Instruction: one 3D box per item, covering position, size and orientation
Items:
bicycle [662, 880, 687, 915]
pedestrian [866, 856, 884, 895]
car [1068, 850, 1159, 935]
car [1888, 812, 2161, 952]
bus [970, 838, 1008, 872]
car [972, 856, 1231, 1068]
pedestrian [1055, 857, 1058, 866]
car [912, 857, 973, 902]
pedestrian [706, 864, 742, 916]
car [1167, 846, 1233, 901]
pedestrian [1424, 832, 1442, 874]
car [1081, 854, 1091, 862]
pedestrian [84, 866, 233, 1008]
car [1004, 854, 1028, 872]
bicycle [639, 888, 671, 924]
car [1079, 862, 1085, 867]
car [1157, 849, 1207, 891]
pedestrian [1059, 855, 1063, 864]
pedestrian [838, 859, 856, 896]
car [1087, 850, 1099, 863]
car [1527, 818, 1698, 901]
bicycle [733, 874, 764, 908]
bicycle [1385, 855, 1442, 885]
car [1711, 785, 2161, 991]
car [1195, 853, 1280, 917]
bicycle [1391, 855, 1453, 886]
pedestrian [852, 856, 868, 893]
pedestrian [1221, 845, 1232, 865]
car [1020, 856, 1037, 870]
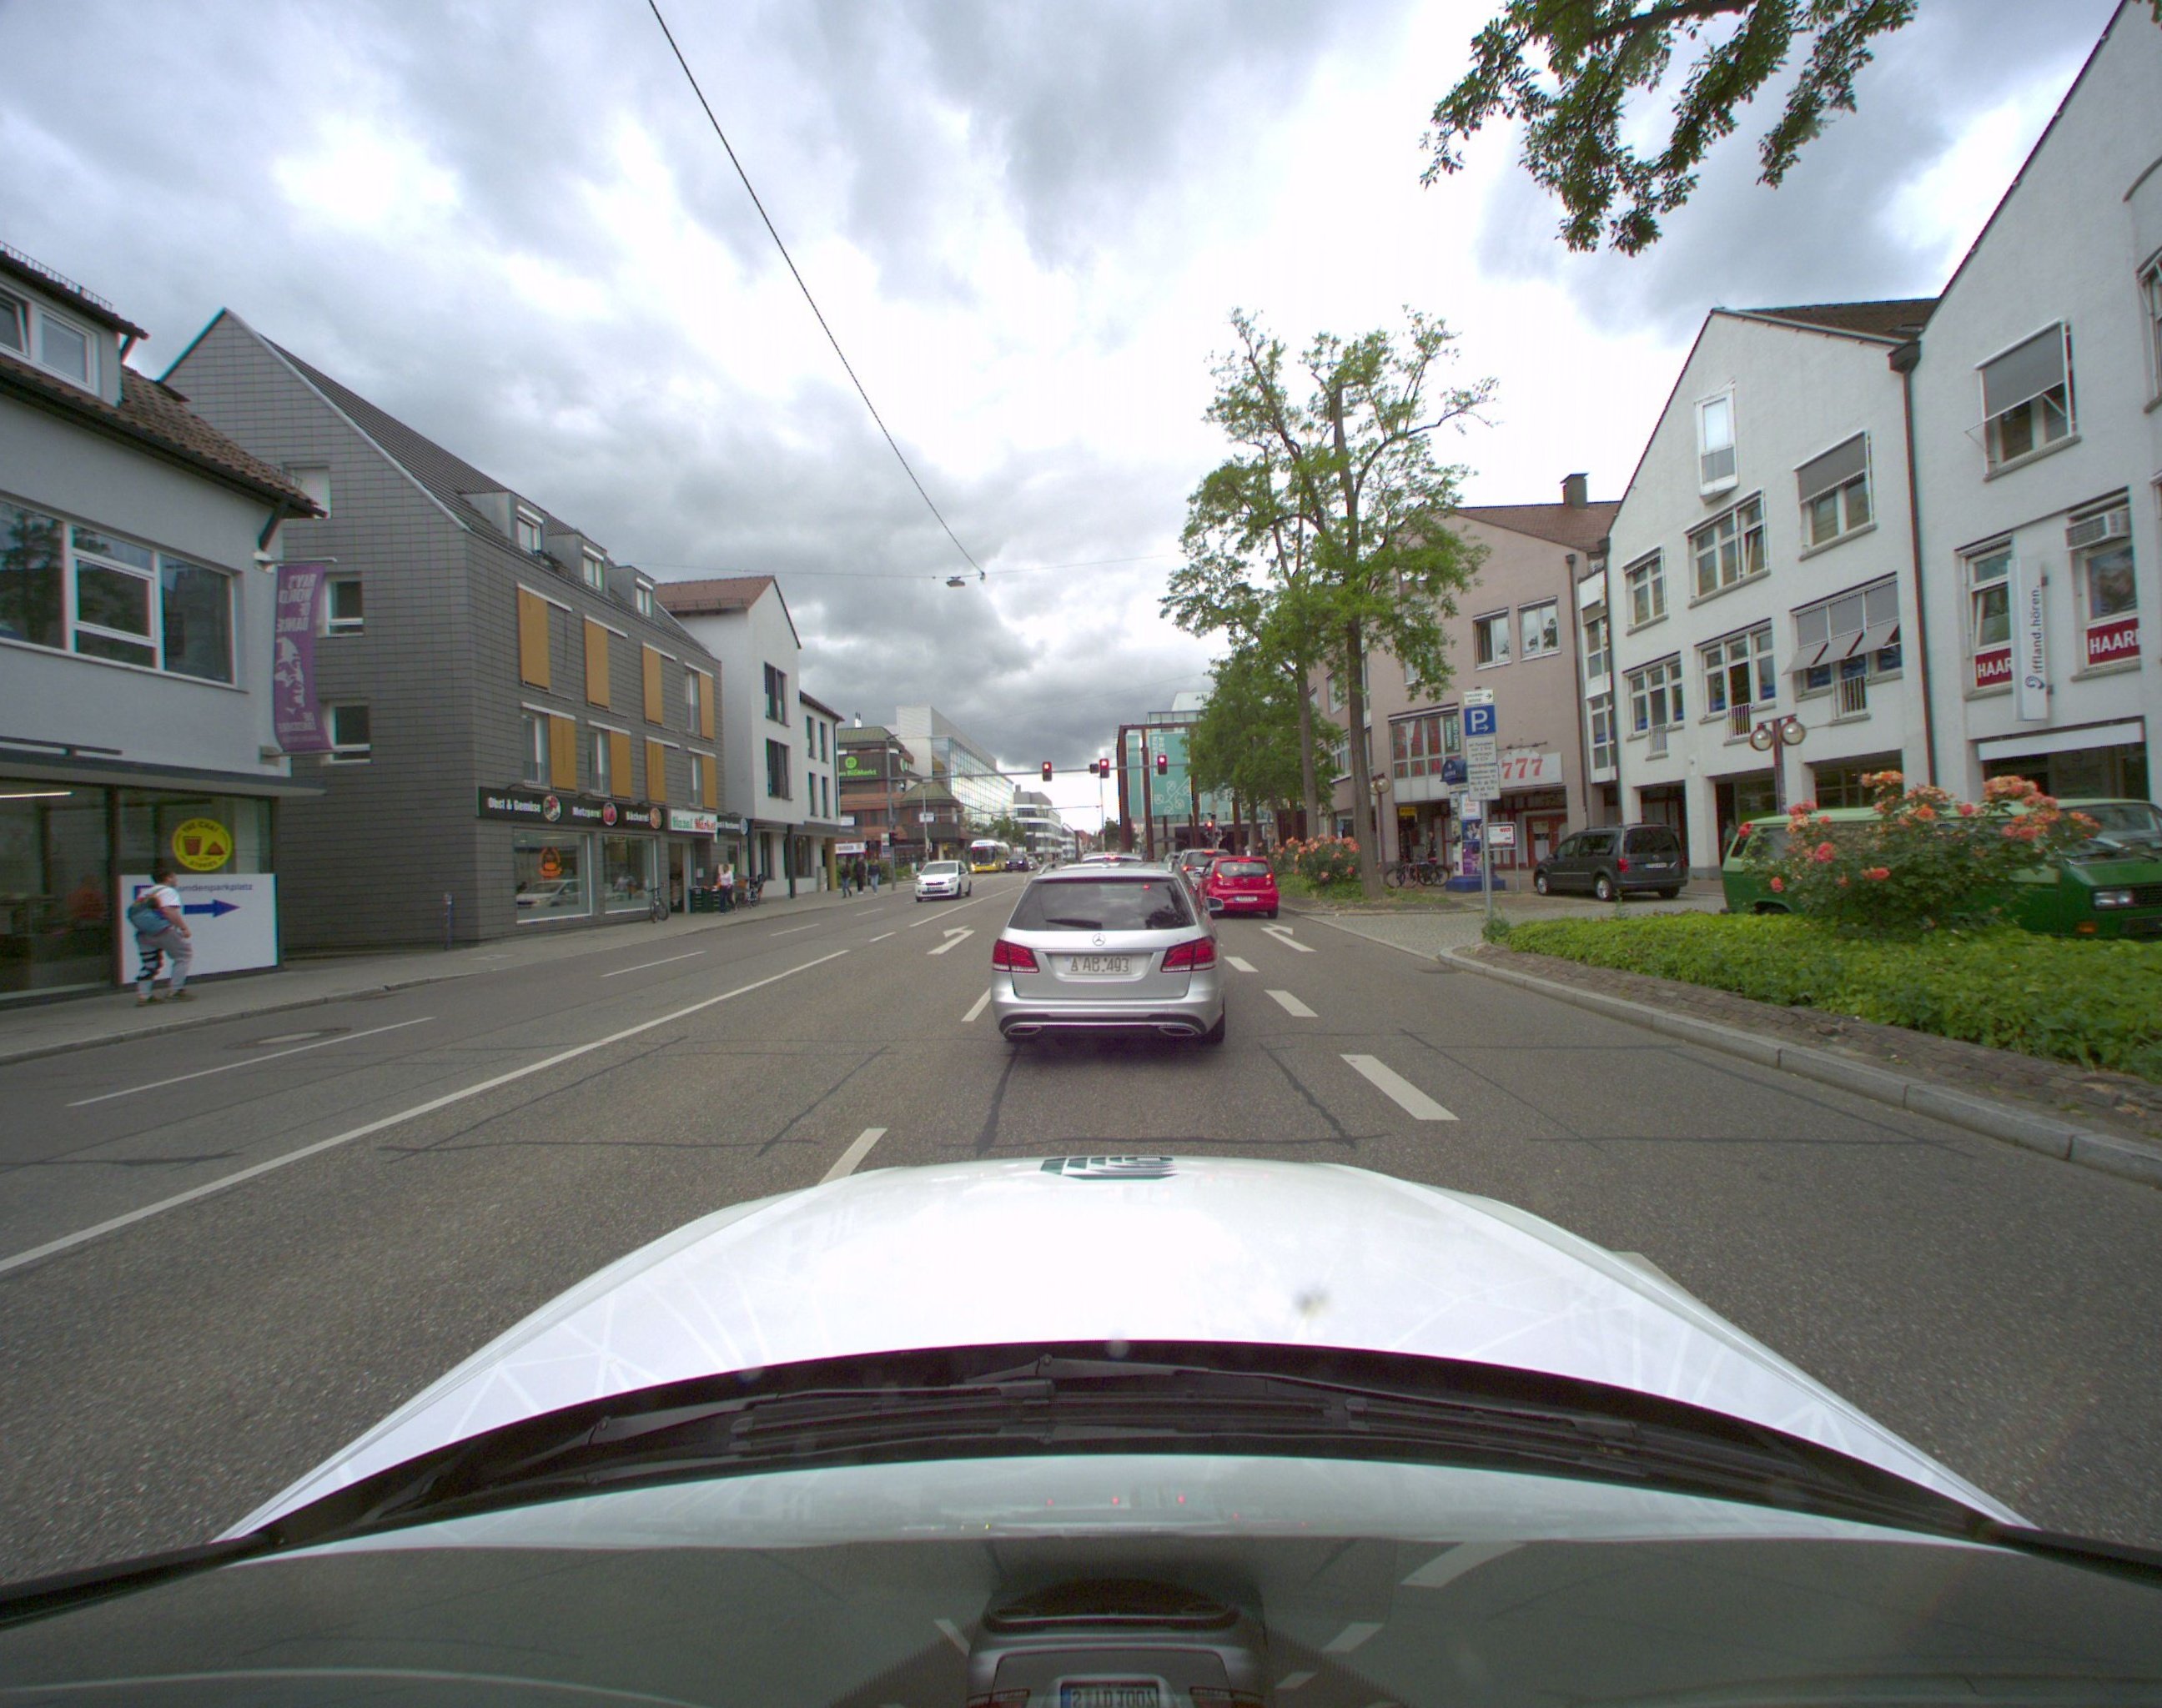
[{"bbox_3d":[-13.795,1.458,27.657,0.386,1.127,1.284,-2,0,-12],"label":"bicycle"},{"bbox_3d":[-9.749,1.021,38.547,0.682,1.790,0.646,-2,0,-11],"label":"pedestrian"},{"bbox_3d":[0.647,0.710,16.599,1.634,1.527,3.395,-1,0,2],"label":"car"},{"bbox_3d":[13.051,0.281,10.039,1.790,1.542,4.394,-4,0,0],"label":"car"},{"bbox_3d":[-9.396,0.073,83.811,2.677,3.261,8.654,-2,0,1],"label":"bus"},{"bbox_3d":[0.454,0.748,7.843,1.804,1.448,4.380,0,0,9],"label":"car"},{"bbox_3d":[-4.935,1.501,163.980,0.516,1.733,0.490,-2,0,10],"label":"pedestrian"},{"bbox_3d":[-5.215,0.927,31.005,1.568,1.488,3.465,-3,0,1],"label":"car"},{"bbox_3d":[-11.338,1.130,25.879,0.725,1.610,0.753,-2,0,2],"label":"pedestrian"},{"bbox_3d":[3.745,0.573,26.234,1.581,1.634,3.916,0,0,0],"label":"car"},{"bbox_3d":[15.666,-0.056,36.254,0.644,1.834,0.614,-2,0,24],"label":"pedestrian"},{"bbox_3d":[1.061,0.805,165.893,1.793,1.540,4.068,-2,0,3],"label":"car"},{"bbox_3d":[-11.799,1.022,10.453,0.751,1.705,0.981,1,0,2],"label":"pedestrian"},{"bbox_3d":[-6.415,0.855,80.975,1.987,1.706,4.065,-2,0,1],"label":"car"},{"bbox_3d":[-12.277,1.487,23.474,0.325,0.954,1.479,-2,0,-9],"label":"bicycle"},{"bbox_3d":[0.271,3.196,252.652,1.795,1.540,4.063,-2,0,0],"label":"car"},{"bbox_3d":[4.038,0.626,33.119,1.581,1.595,3.868,0,0,0],"label":"car"},{"bbox_3d":[-4.008,1.181,164.433,0.514,1.733,0.492,-2,0,26],"label":"pedestrian"},{"bbox_3d":[-10.602,1.067,36.890,0.652,1.650,0.557,-2,0,-10],"label":"pedestrian"},{"bbox_3d":[2.050,0.418,137.221,1.986,1.949,4.951,-2,0,1],"label":"car"},{"bbox_3d":[13.462,0.122,20.956,1.633,1.831,3.964,-3,0,-2],"label":"car"},{"bbox_3d":[-12.371,1.363,30.337,0.385,1.186,1.825,-3,0,-1],"label":"bicycle"},{"bbox_3d":[11.603,0.557,28.469,1.759,0.997,0.447,-2,0,6],"label":"bicycle"},{"bbox_3d":[10.393,0.276,9.867,1.874,1.876,4.605,-4,0,0],"label":"car"},{"bbox_3d":[3.794,0.710,20.171,1.580,1.443,3.350,0,0,2],"label":"car"},{"bbox_3d":[11.681,0.559,27.912,1.891,0.997,0.468,-2,0,6],"label":"bicycle"},{"bbox_3d":[-10.665,0.989,39.339,0.567,1.775,0.646,-2,0,-3],"label":"pedestrian"},{"bbox_3d":[12.251,0.123,68.580,0.652,1.650,0.557,-2,0,-13],"label":"pedestrian"},{"bbox_3d":[-5.683,0.989,88.587,1.550,1.392,3.288,-2,0,1],"label":"car"}]
